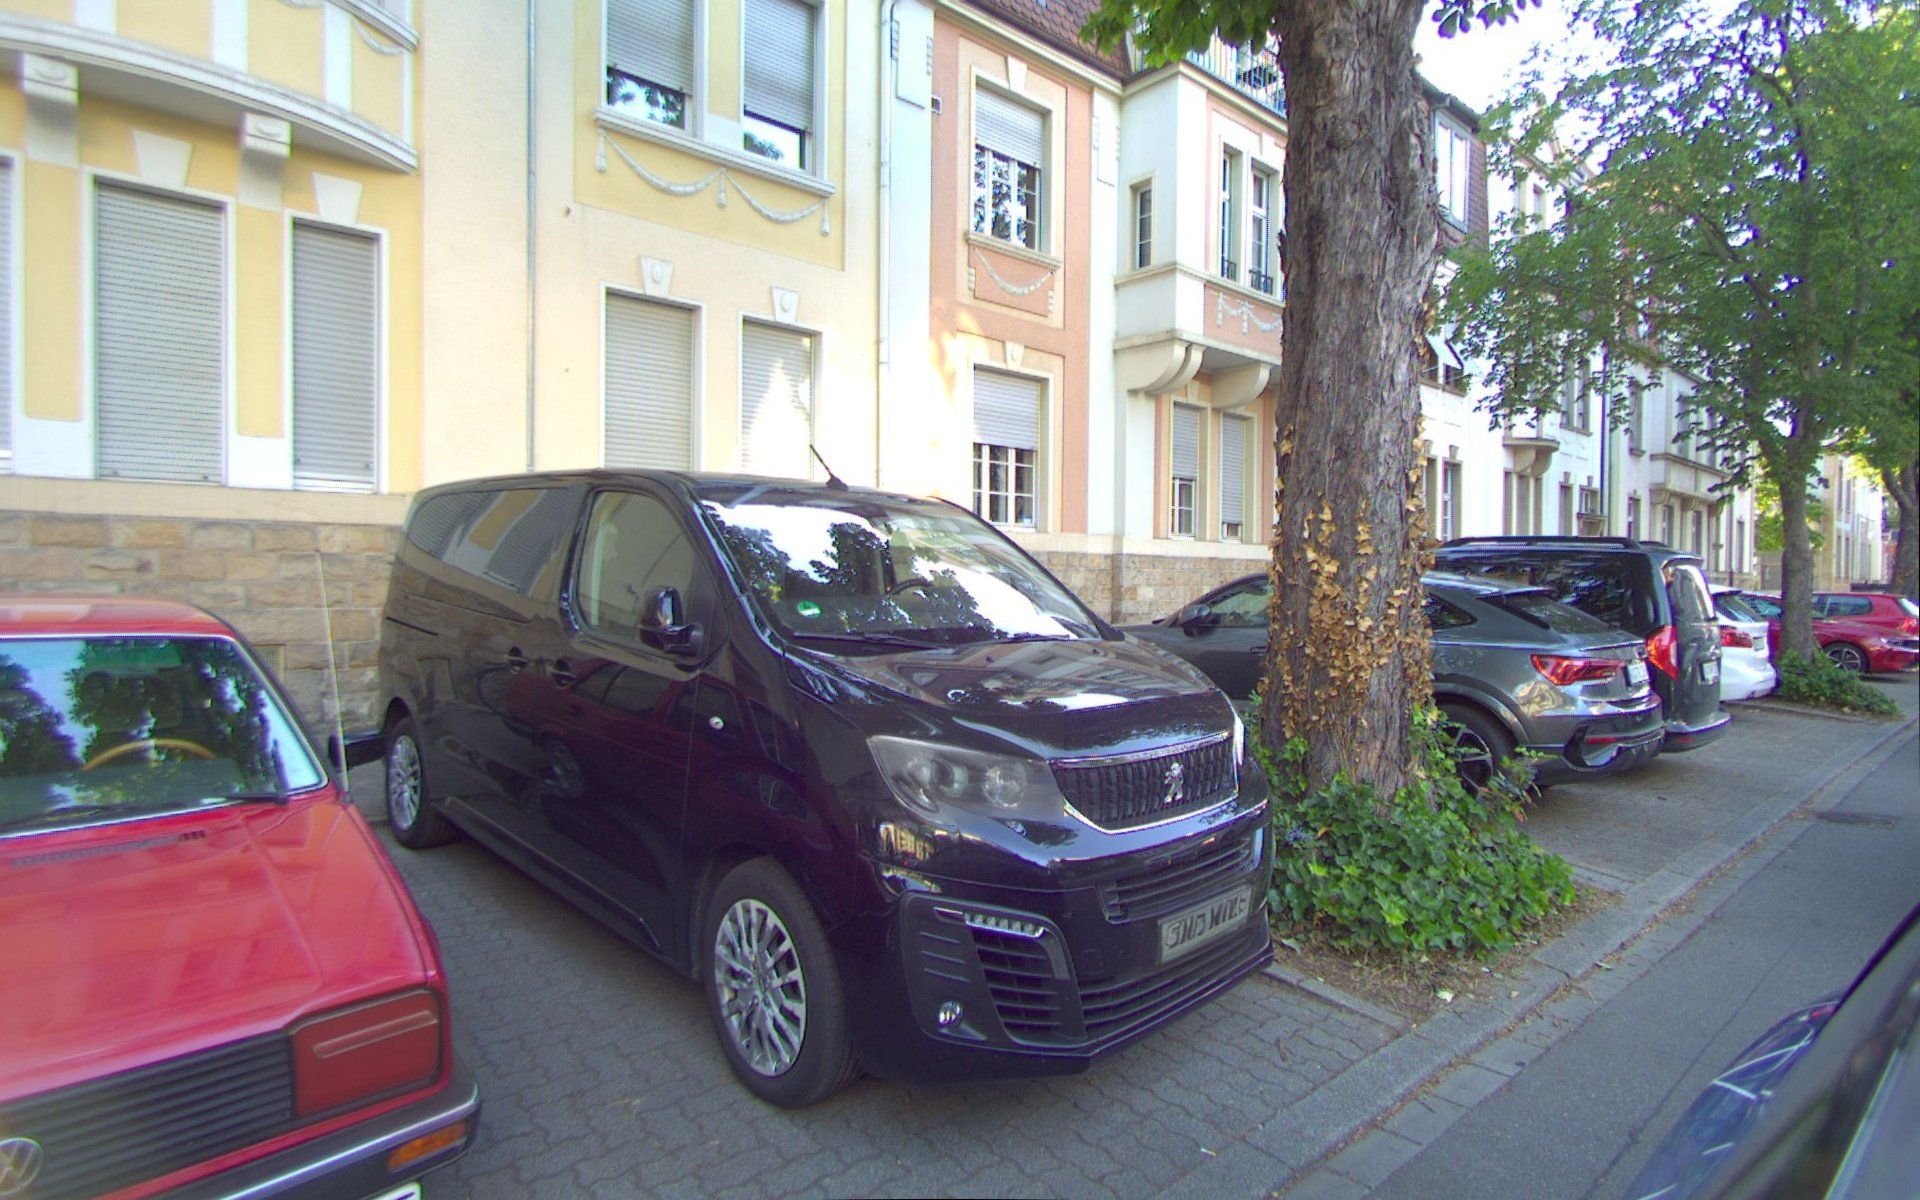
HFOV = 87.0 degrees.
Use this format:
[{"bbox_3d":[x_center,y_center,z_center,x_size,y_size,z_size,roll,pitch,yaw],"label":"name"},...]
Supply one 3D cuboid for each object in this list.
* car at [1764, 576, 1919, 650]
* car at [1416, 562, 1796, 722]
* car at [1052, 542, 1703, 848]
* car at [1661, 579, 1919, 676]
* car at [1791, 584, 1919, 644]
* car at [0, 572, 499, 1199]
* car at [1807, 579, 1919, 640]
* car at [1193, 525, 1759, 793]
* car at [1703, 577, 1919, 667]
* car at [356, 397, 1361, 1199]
[{"bbox_3d":[21.618,0.281,24.087,1.511,1.584,3.621,0,2,-40],"label":"car"},{"bbox_3d":[7.709,0.379,12.310,1.513,1.569,3.616,-1,3,-45],"label":"car"},{"bbox_3d":[2.788,0.414,7.505,1.569,1.611,4.165,-1,4,-44],"label":"car"},{"bbox_3d":[14.904,0.412,18.062,1.511,1.420,3.621,0,3,-40],"label":"car"},{"bbox_3d":[23.960,0.342,26.141,1.511,1.420,3.621,0,3,-40],"label":"car"},{"bbox_3d":[-2.816,0.654,2.972,1.532,1.336,3.917,-1,4,-43],"label":"car"},{"bbox_3d":[25.932,0.261,27.982,1.511,1.584,3.621,0,2,-40],"label":"car"},{"bbox_3d":[4.324,0.283,9.008,1.569,1.849,4.165,-1,4,-44],"label":"car"},{"bbox_3d":[16.859,0.377,19.664,1.511,1.482,3.621,0,3,-40],"label":"car"},{"bbox_3d":[-0.996,0.349,4.526,1.851,1.846,4.825,-1,4,-44],"label":"car"}]
